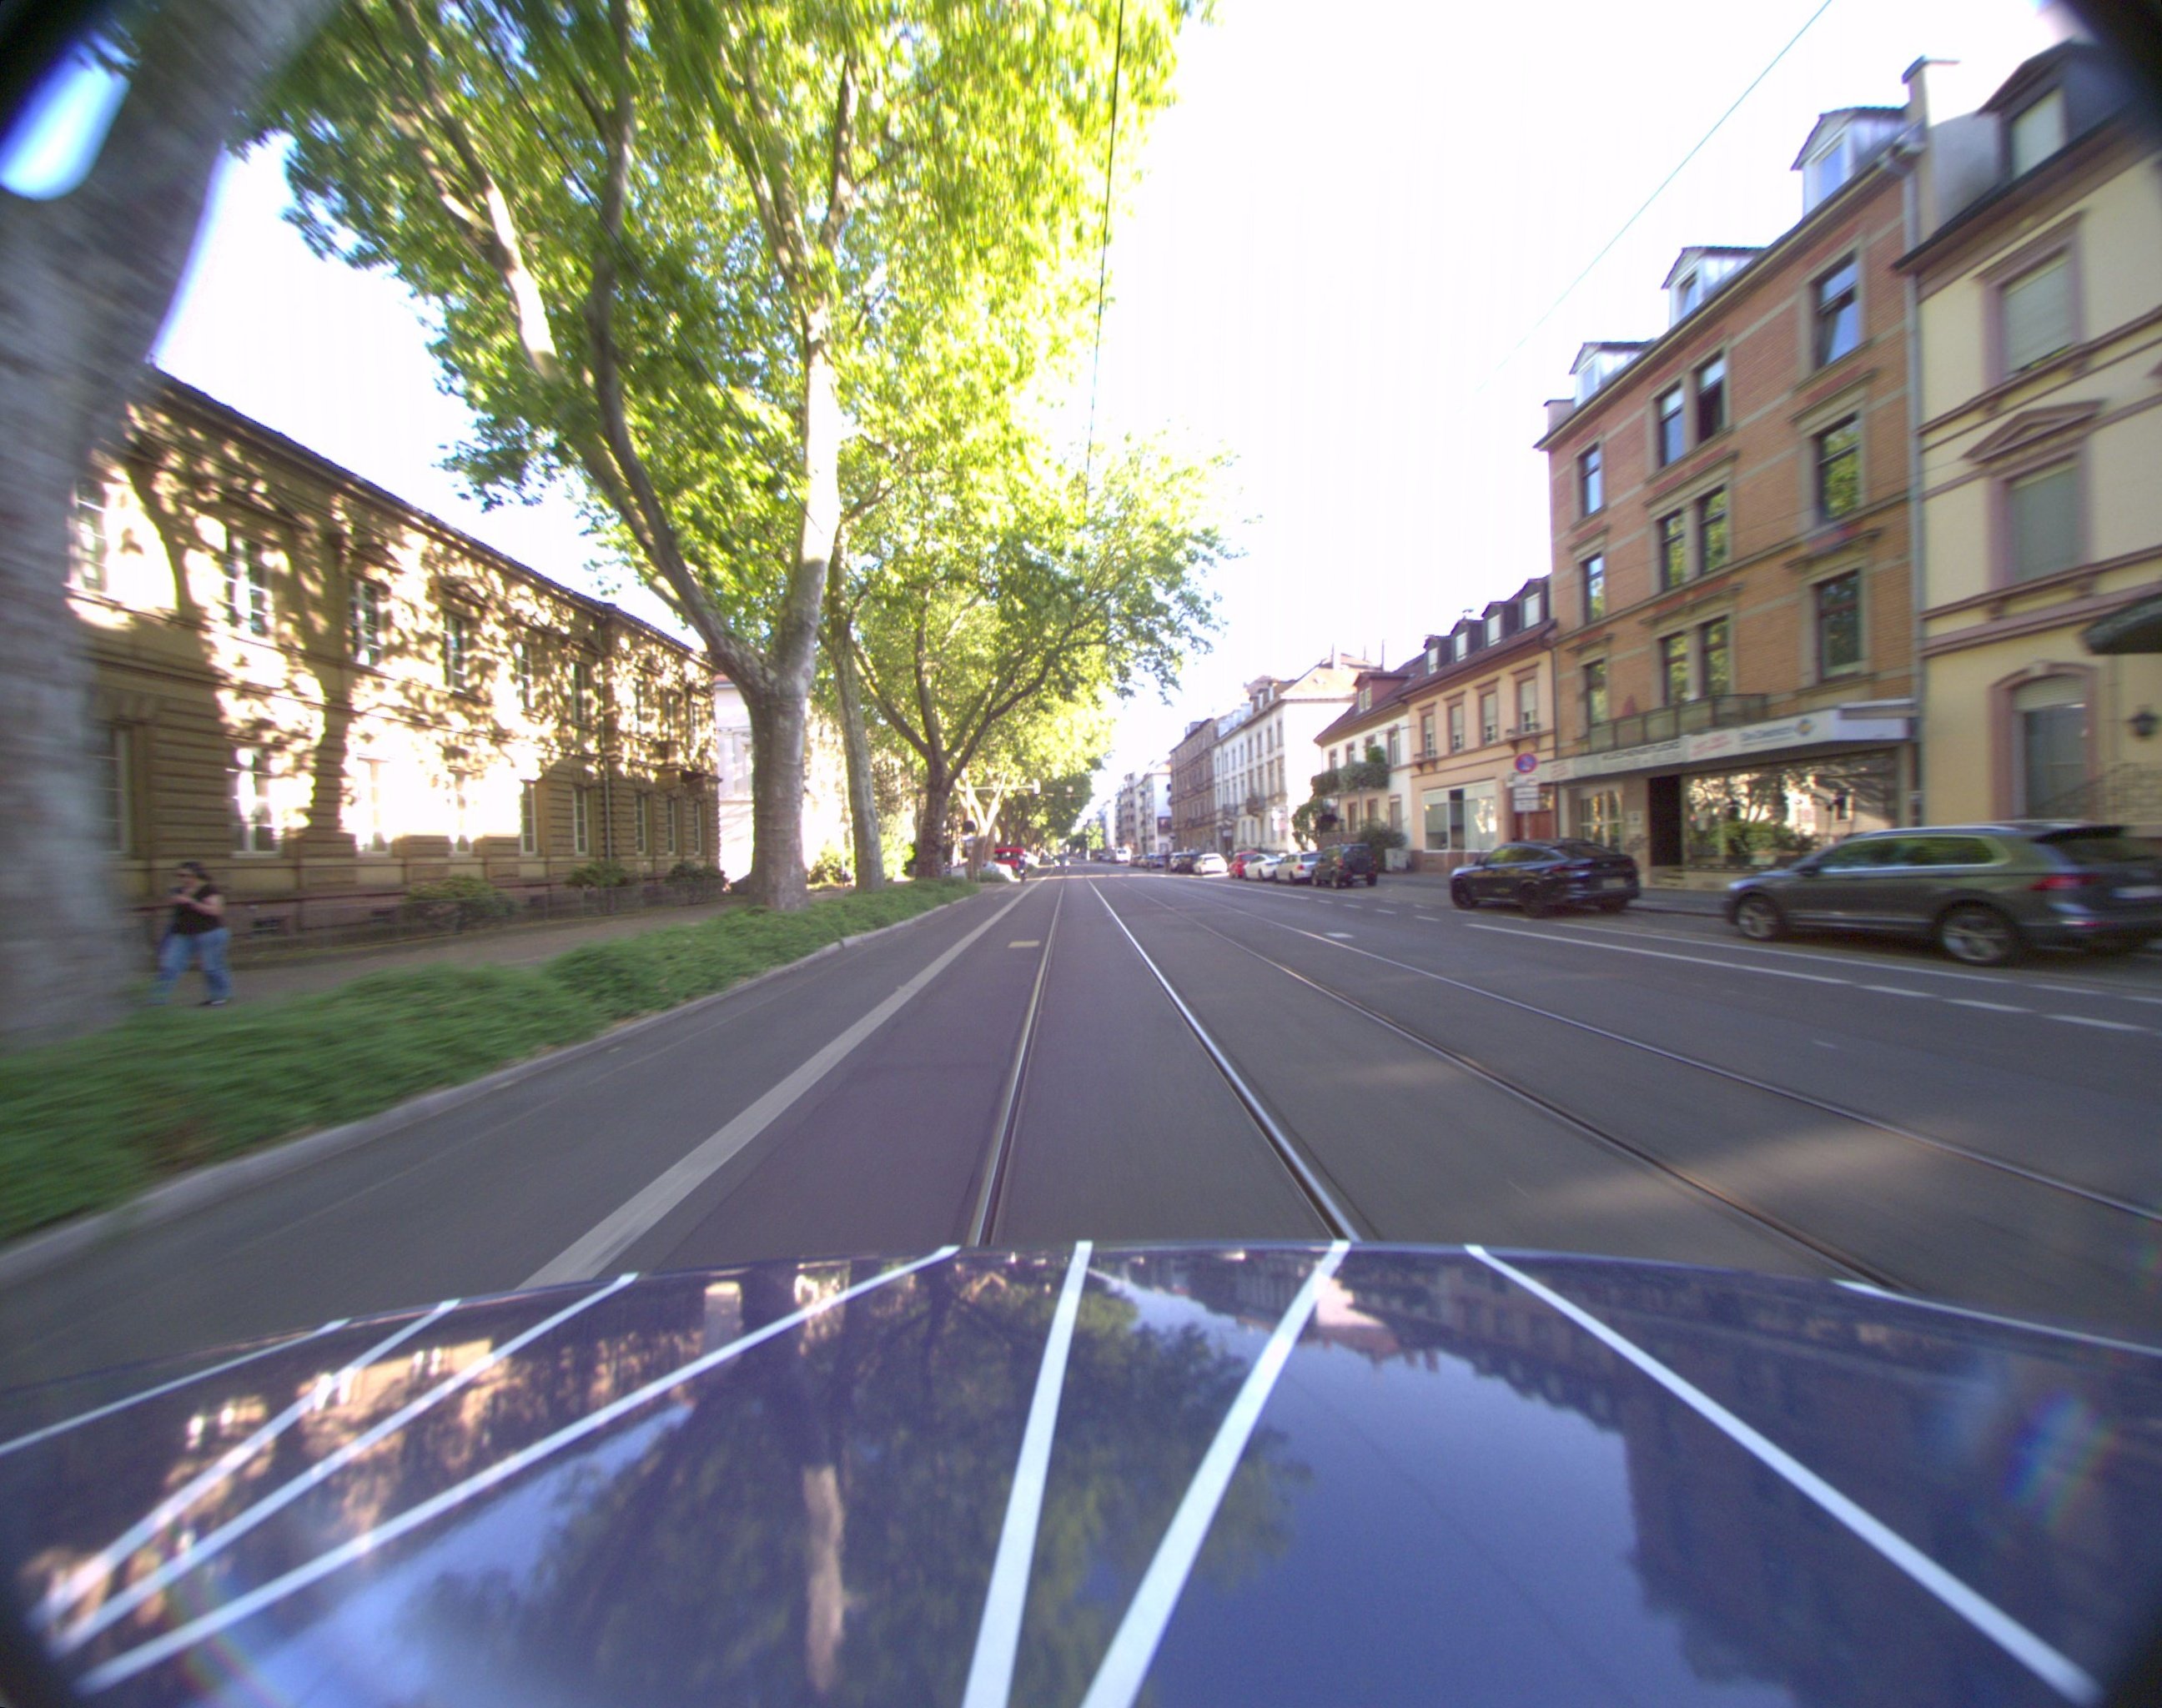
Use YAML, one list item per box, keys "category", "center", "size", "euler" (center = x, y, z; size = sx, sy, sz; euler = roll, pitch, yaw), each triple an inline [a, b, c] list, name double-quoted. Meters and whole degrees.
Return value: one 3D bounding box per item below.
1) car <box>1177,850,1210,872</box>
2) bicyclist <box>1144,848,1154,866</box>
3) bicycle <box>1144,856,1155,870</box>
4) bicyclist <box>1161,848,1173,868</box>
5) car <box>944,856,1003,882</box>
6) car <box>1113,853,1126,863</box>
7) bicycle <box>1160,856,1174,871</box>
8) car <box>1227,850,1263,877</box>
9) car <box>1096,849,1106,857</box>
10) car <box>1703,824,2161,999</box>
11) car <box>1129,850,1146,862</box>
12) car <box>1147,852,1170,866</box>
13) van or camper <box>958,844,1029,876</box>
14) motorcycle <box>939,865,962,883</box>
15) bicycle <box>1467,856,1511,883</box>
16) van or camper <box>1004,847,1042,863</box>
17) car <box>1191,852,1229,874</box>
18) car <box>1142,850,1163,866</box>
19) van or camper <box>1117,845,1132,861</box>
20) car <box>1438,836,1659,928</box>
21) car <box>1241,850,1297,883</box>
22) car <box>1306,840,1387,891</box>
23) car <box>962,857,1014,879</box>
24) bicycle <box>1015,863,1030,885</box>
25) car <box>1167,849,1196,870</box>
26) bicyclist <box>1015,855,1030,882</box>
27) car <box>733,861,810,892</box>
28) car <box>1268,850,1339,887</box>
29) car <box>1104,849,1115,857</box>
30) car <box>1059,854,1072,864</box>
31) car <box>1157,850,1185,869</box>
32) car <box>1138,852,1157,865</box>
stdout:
- category: "car"
  center: [8.892, 0.556, 60.540]
  size: [1.798, 1.587, 4.082]
  euler: [-4, 0, -2]
- category: "bicyclist"
  center: [5.964, 0.280, 66.708]
  size: [0.715, 1.508, 0.953]
  euler: [-2, 1, 0]
- category: "bicycle"
  center: [5.989, 0.782, 66.711]
  size: [0.715, 1.131, 2.120]
  euler: [-2, 0, -1]
- category: "bicyclist"
  center: [6.599, 0.333, 58.424]
  size: [0.715, 1.508, 0.953]
  euler: [-2, 1, -1]
- category: "car"
  center: [-7.216, 1.015, 51.223]
  size: [3.677, 1.535, 1.614]
  euler: [-2, 3, -2]
- category: "car"
  center: [6.410, 0.641, 127.906]
  size: [1.808, 1.534, 3.918]
  euler: [-4, 0, -2]
- category: "bicycle"
  center: [6.607, 0.743, 58.507]
  size: [0.715, 1.131, 2.120]
  euler: [-2, 0, -1]
- category: "car"
  center: [9.702, 0.539, 45.162]
  size: [1.422, 1.502, 3.325]
  euler: [-4, 0, 1]
- category: "car"
  center: [4.550, -0.244, 173.858]
  size: [1.809, 1.534, 3.917]
  euler: [-4, 0, -4]
- category: "car"
  center: [11.187, 0.585, 10.190]
  size: [1.815, 1.695, 4.442]
  euler: [-5, 0, -3]
- category: "car"
  center: [7.579, 0.265, 102.318]
  size: [1.808, 1.534, 3.918]
  euler: [-4, 0, -2]
- category: "car"
  center: [8.245, 0.488, 80.941]
  size: [1.798, 1.368, 4.082]
  euler: [-4, 0, -2]
- category: "van or camper"
  center: [-7.481, 0.484, 65.427]
  size: [5.929, 2.484, 2.219]
  euler: [-2, 3, -4]
- category: "motorcycle"
  center: [-7.726, 1.174, 45.102]
  size: [1.274, 1.048, 0.394]
  euler: [-2, 1, -38]
- category: "bicycle"
  center: [15.485, 0.578, 28.907]
  size: [0.505, 0.963, 2.120]
  euler: [-2, 0, -1]
- category: "van or camper"
  center: [-9.551, 0.143, 125.551]
  size: [6.100, 2.417, 2.427]
  euler: [-2, 1, -1]
- category: "car"
  center: [9.358, 0.605, 55.345]
  size: [1.869, 1.423, 4.082]
  euler: [-4, 0, -2]
- category: "car"
  center: [8.066, 0.405, 86.238]
  size: [1.798, 1.617, 4.082]
  euler: [-4, 0, -2]
- category: "van or camper"
  center: [6.948, -0.174, 122.073]
  size: [1.945, 2.267, 4.597]
  euler: [-4, 0, -2]
- category: "car"
  center: [10.639, 0.563, 17.850]
  size: [1.999, 1.693, 4.749]
  euler: [-5, 0, -3]
- category: "car"
  center: [9.730, 0.613, 39.752]
  size: [1.587, 1.482, 4.469]
  euler: [-4, 0, -2]
- category: "car"
  center: [10.365, 0.429, 29.939]
  size: [1.729, 1.736, 3.625]
  euler: [-5, 0, -1]
- category: "car"
  center: [-6.860, 1.031, 56.376]
  size: [3.677, 1.411, 1.614]
  euler: [-2, 3, -2]
- category: "bicycle"
  center: [-3.225, 1.085, 42.022]
  size: [0.715, 1.131, 2.120]
  euler: [-2, 0, -1]
- category: "car"
  center: [8.677, 0.432, 65.850]
  size: [1.798, 1.630, 4.253]
  euler: [-4, 0, -2]
- category: "bicyclist"
  center: [-3.224, 0.801, 41.898]
  size: [0.715, 1.435, 0.953]
  euler: [-2, 1, 0]
- category: "car"
  center: [-17.402, 1.262, 42.835]
  size: [3.572, 1.535, 1.735]
  euler: [-2, 3, -2]
- category: "car"
  center: [9.942, 0.596, 34.330]
  size: [1.668, 1.446, 4.403]
  euler: [-4, 0, -2]
- category: "car"
  center: [5.826, -0.274, 158.055]
  size: [1.809, 1.534, 3.917]
  euler: [-4, 0, -4]
- category: "car"
  center: [-2.282, 0.734, 112.750]
  size: [1.740, 1.365, 3.918]
  euler: [-4, 0, -2]
- category: "car"
  center: [8.499, 0.486, 72.080]
  size: [1.798, 1.630, 4.575]
  euler: [-4, 0, -2]
- category: "car"
  center: [8.040, 0.550, 92.037]
  size: [1.798, 1.473, 4.082]
  euler: [-4, 0, -2]
